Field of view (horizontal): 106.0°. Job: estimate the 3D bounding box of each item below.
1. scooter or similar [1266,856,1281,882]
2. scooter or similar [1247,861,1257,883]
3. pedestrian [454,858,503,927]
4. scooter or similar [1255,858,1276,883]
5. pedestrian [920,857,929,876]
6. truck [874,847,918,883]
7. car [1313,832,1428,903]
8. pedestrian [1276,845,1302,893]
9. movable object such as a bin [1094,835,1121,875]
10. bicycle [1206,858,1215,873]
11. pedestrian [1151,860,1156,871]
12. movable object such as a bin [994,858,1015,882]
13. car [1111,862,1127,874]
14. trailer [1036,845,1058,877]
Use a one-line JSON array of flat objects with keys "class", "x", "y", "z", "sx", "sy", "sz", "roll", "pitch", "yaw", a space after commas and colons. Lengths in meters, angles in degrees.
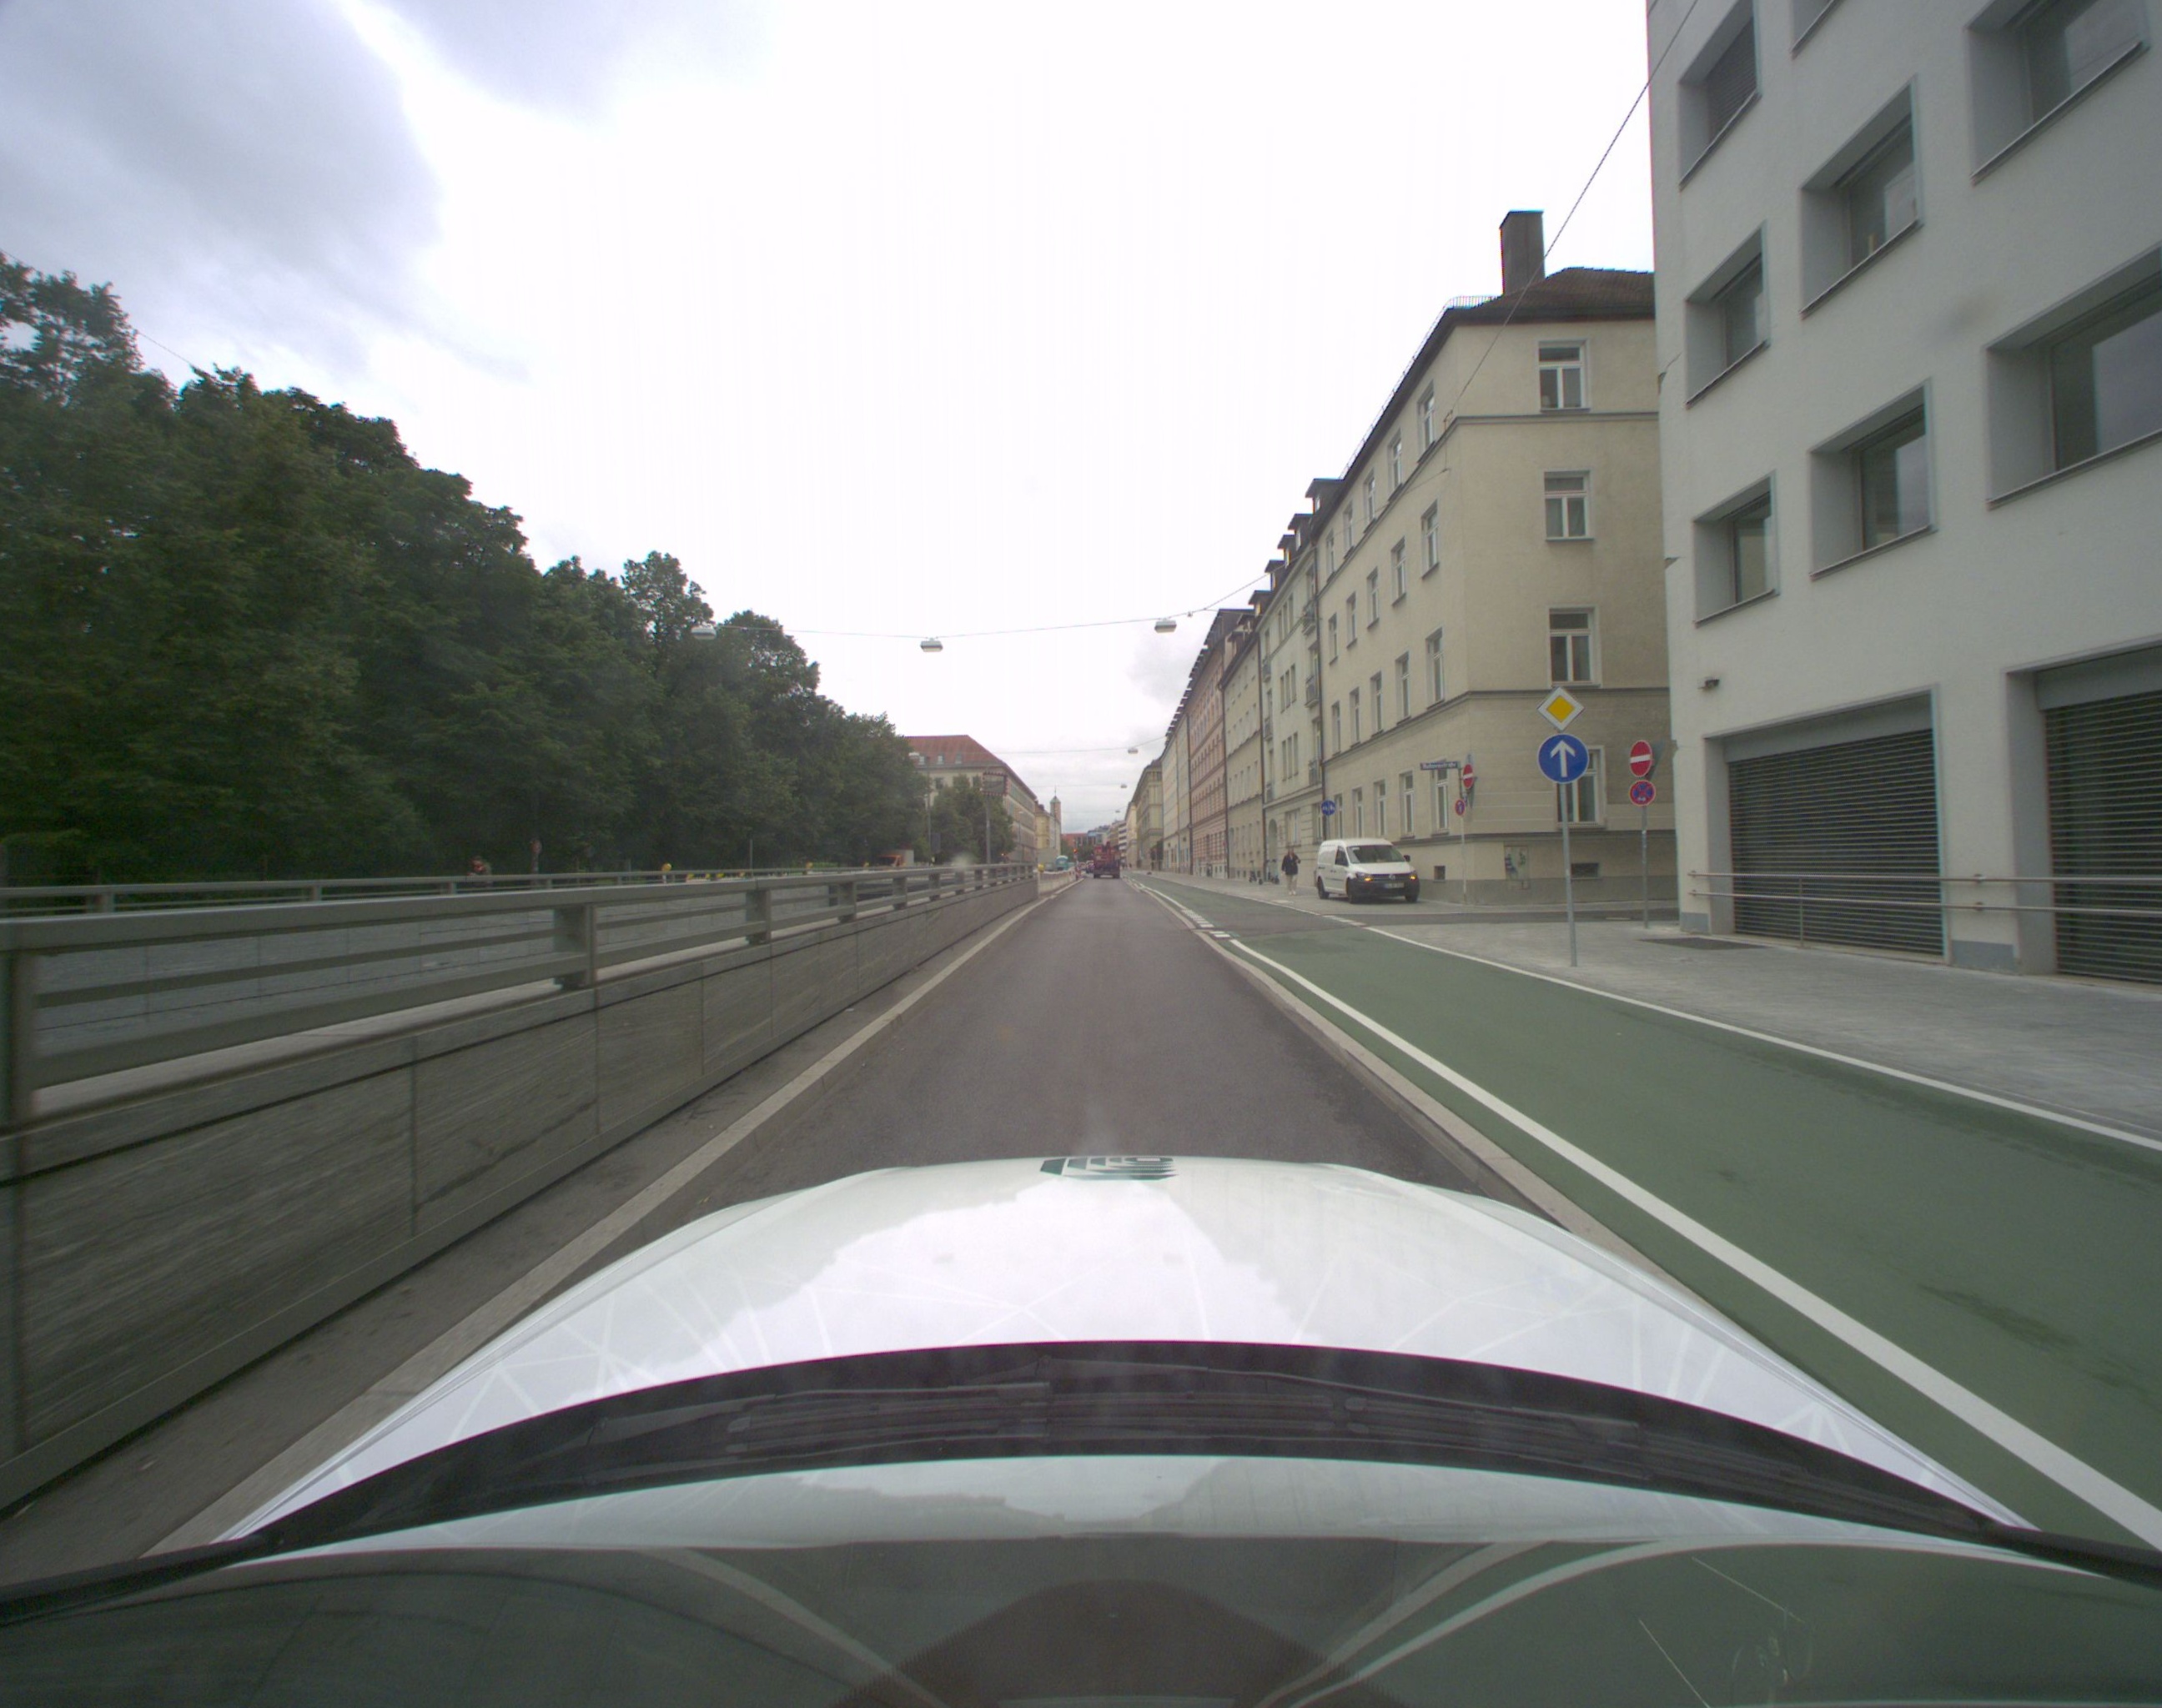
[{"class": "scooter or similar", "x": 9.466, "y": 0.736, "z": 40.076, "sx": 0.385, "sy": 1.272, "sz": 1.119, "roll": -3, "pitch": -2, "yaw": 1}, {"class": "scooter or similar", "x": 9.610, "y": 1.008, "z": 45.750, "sx": 0.244, "sy": 1.231, "sz": 1.126, "roll": -4, "pitch": -2, "yaw": 27}, {"class": "pedestrian", "x": -14.588, "y": 0.924, "z": 19.736, "sx": 0.660, "sy": 1.641, "sz": 0.698, "roll": 0, "pitch": -1, "yaw": 2}, {"class": "scooter or similar", "x": 9.312, "y": 0.833, "z": 41.146, "sx": 1.123, "sy": 1.231, "sz": 0.244, "roll": -2, "pitch": -2, "yaw": -32}, {"class": "pedestrian", "x": -13.655, "y": 1.070, "z": 70.961, "sx": 0.660, "sy": 1.603, "sz": 0.698, "roll": 0, "pitch": -1, "yaw": 2}, {"class": "truck", "x": -14.923, "y": 0.878, "z": 66.061, "sx": 1.986, "sy": 2.728, "sz": 5.873, "roll": -1, "pitch": -1, "yaw": 2}, {"class": "car", "x": 8.013, "y": 0.368, "z": 22.997, "sx": 1.727, "sy": 1.750, "sz": 4.437, "roll": -2, "pitch": -1, "yaw": 2}, {"class": "pedestrian", "x": 7.302, "y": 0.524, "z": 28.605, "sx": 0.662, "sy": 1.636, "sz": 0.737, "roll": -2, "pitch": -1, "yaw": 1}, {"class": "movable object such as a bin", "x": 2.428, "y": 0.107, "z": 76.466, "sx": 2.415, "sy": 3.612, "sz": 5.851, "roll": -1, "pitch": -1, "yaw": 0}, {"class": "bicycle", "x": 10.319, "y": 0.875, "z": 64.851, "sx": 0.422, "sy": 1.174, "sz": 1.739, "roll": -2, "pitch": -1, "yaw": 19}, {"class": "pedestrian", "x": 12.214, "y": 1.988, "z": 137.562, "sx": 0.787, "sy": 1.836, "sz": 0.777, "roll": -1, "pitch": -1, "yaw": 2}, {"class": "movable object such as a bin", "x": -8.445, "y": 1.755, "z": 90.435, "sx": 1.918, "sy": 2.572, "sz": 4.491, "roll": 0, "pitch": -1, "yaw": 0}, {"class": "car", "x": 4.836, "y": 1.819, "z": 104.104, "sx": 1.796, "sy": 1.480, "sz": 4.687, "roll": -2, "pitch": -1, "yaw": 1}, {"class": "trailer", "x": -3.659, "y": 0.811, "z": 87.058, "sx": 2.222, "sy": 3.244, "sz": 7.509, "roll": -1, "pitch": -1, "yaw": -3}]
